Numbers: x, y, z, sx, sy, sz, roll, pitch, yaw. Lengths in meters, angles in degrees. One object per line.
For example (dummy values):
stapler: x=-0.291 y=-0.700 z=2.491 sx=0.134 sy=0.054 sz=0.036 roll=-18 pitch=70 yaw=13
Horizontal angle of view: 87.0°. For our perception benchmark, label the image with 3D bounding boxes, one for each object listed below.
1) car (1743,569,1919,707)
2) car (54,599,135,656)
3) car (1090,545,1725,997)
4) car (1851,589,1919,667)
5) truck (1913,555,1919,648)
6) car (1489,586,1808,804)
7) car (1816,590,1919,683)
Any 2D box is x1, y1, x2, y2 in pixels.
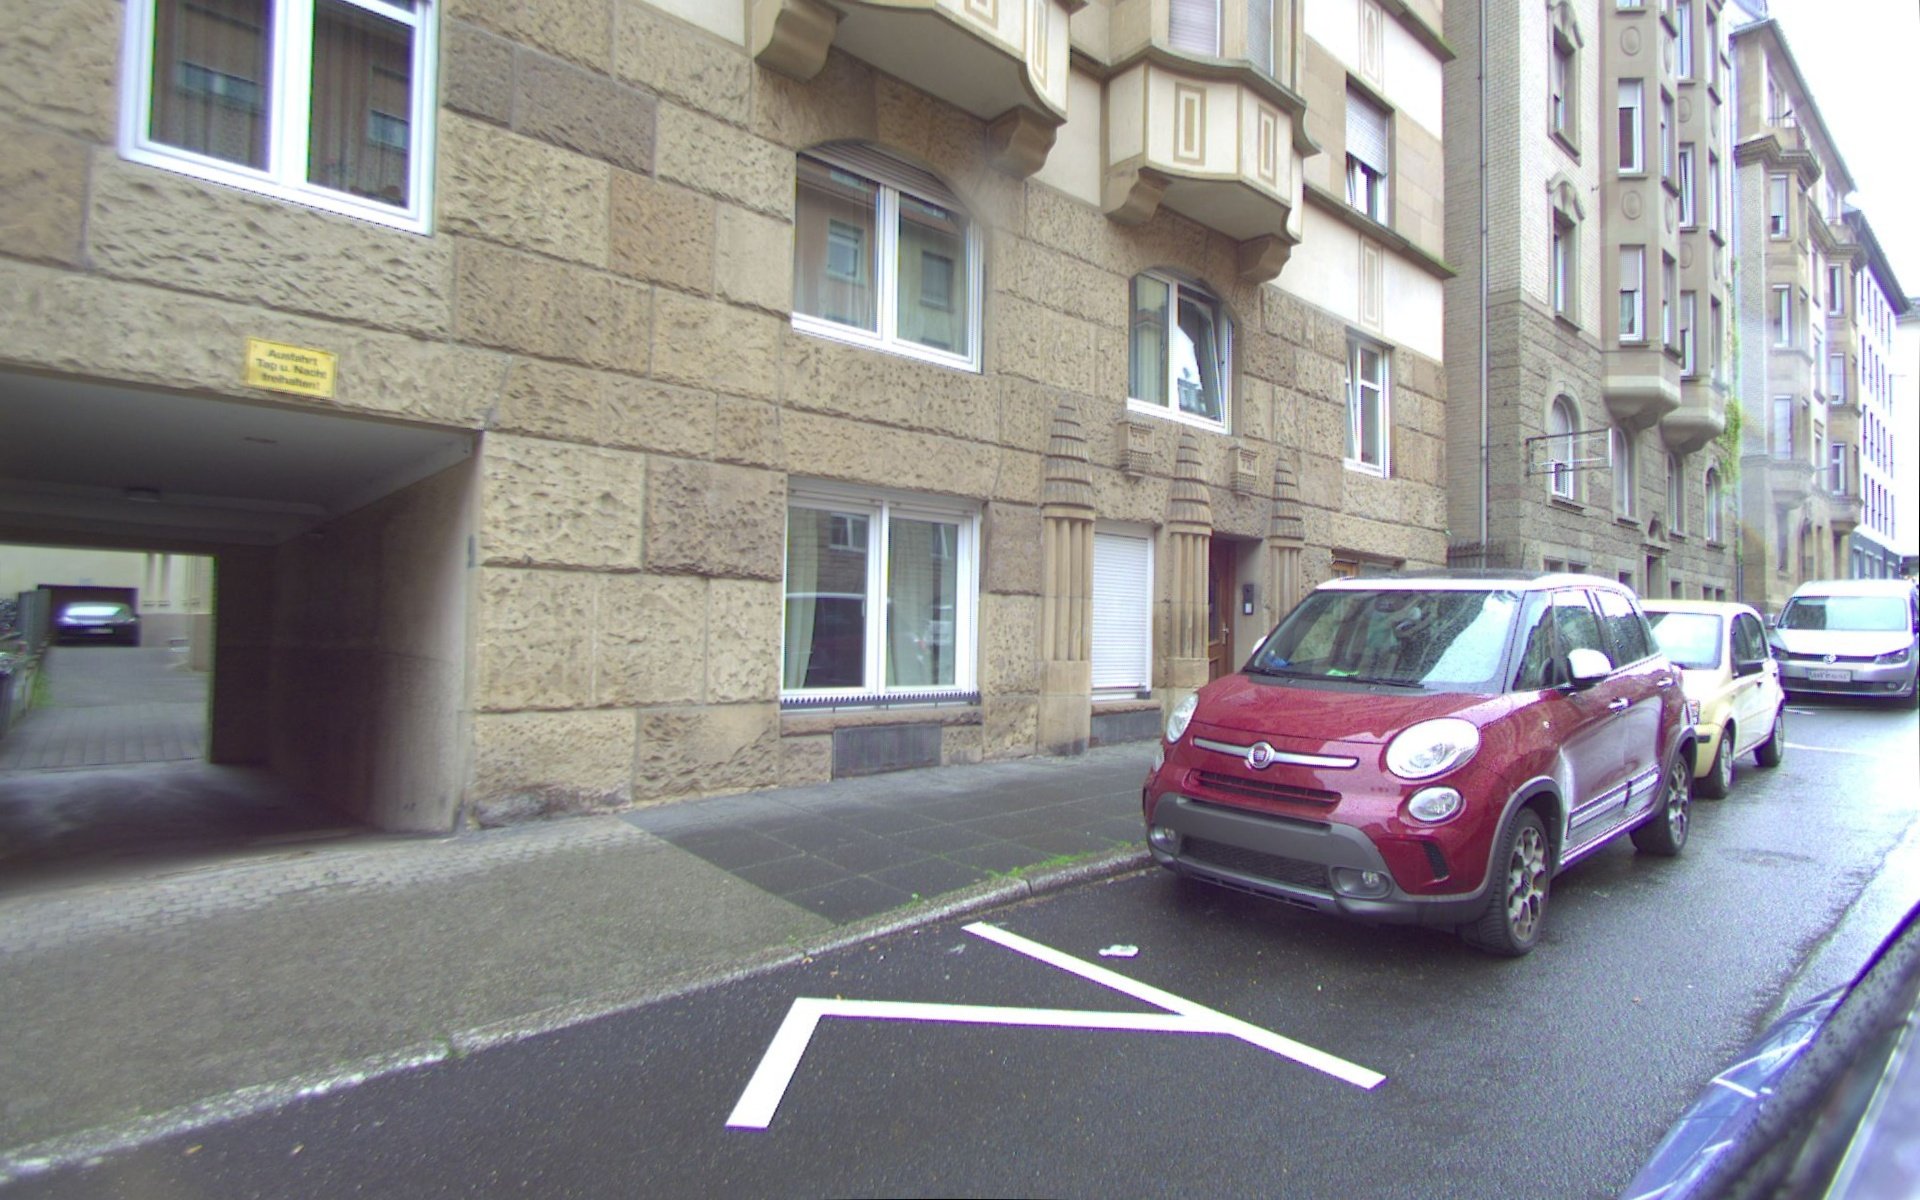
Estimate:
car: x=13.779 y=0.504 z=15.516 sx=4.380 sy=1.825 sz=1.966 roll=0 pitch=-1 yaw=-41
car: x=-25.170 y=0.755 z=29.461 sx=1.692 sy=1.541 sz=4.098 roll=0 pitch=-1 yaw=-41
car: x=2.694 y=0.615 z=5.637 sx=3.932 sy=1.619 sz=1.804 roll=0 pitch=-1 yaw=-42
car: x=20.492 y=0.551 z=21.447 sx=3.860 sy=1.549 sz=1.889 roll=0 pitch=-1 yaw=-41
truck: x=29.178 y=0.027 z=28.886 sx=6.036 sy=2.568 sz=2.233 roll=0 pitch=-1 yaw=-41
car: x=6.215 y=0.679 z=8.998 sx=3.517 sy=1.549 sz=1.578 roll=0 pitch=-1 yaw=-43
car: x=17.186 y=0.604 z=18.507 sx=3.934 sy=1.549 sz=1.994 roll=0 pitch=-1 yaw=-45
